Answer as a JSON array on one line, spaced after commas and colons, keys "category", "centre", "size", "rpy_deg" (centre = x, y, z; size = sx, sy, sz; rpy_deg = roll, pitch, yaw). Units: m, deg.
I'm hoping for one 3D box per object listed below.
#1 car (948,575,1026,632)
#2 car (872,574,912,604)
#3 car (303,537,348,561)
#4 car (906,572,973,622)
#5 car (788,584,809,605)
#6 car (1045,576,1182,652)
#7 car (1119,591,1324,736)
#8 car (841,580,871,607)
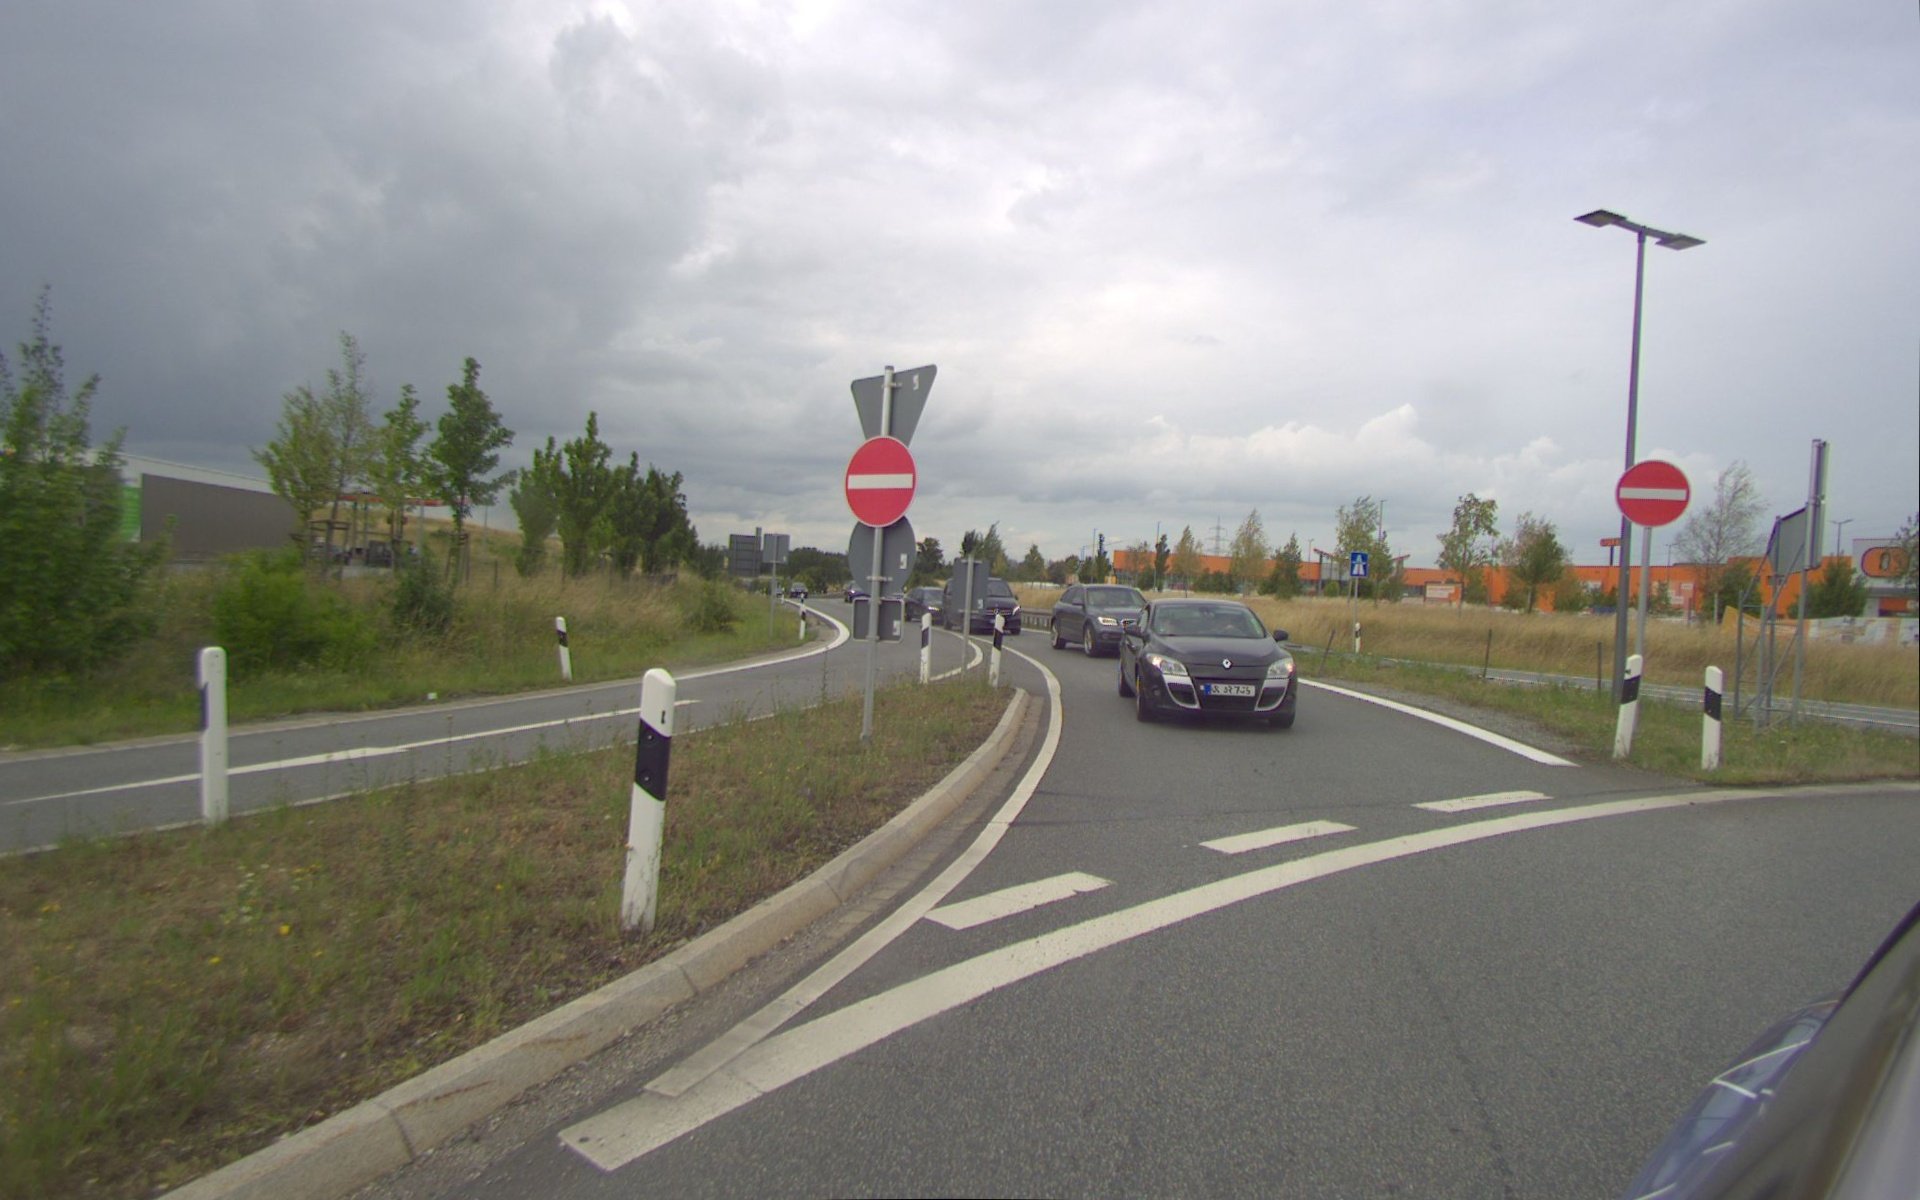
[{"category": "car", "centre": [0.818, 0.077, 34.010], "size": [1.687, 1.743, 4.754], "rpy_deg": [1, 1, -10]}, {"category": "car", "centre": [-4.082, -0.676, 60.369], "size": [1.726, 1.684, 4.009], "rpy_deg": [1, 1, -13]}, {"category": "car", "centre": [-45.049, -3.621, 71.922], "size": [1.761, 1.557, 3.671], "rpy_deg": [1, 1, -16]}, {"category": "car", "centre": [-0.901, -0.171, 41.490], "size": [1.768, 1.906, 4.009], "rpy_deg": [1, 1, -16]}, {"category": "car", "centre": [-15.382, -0.571, 96.320], "size": [1.726, 1.906, 4.008], "rpy_deg": [1, 1, -13]}, {"category": "car", "centre": [3.498, 0.271, 23.928], "size": [1.845, 1.602, 4.285], "rpy_deg": [1, 1, -11]}, {"category": "car", "centre": [2.974, 0.622, 12.359], "size": [1.812, 1.387, 4.137], "rpy_deg": [2, 1, 7]}, {"category": "car", "centre": [-7.667, -0.492, 74.163], "size": [1.726, 1.906, 4.008], "rpy_deg": [1, 1, -11]}]
